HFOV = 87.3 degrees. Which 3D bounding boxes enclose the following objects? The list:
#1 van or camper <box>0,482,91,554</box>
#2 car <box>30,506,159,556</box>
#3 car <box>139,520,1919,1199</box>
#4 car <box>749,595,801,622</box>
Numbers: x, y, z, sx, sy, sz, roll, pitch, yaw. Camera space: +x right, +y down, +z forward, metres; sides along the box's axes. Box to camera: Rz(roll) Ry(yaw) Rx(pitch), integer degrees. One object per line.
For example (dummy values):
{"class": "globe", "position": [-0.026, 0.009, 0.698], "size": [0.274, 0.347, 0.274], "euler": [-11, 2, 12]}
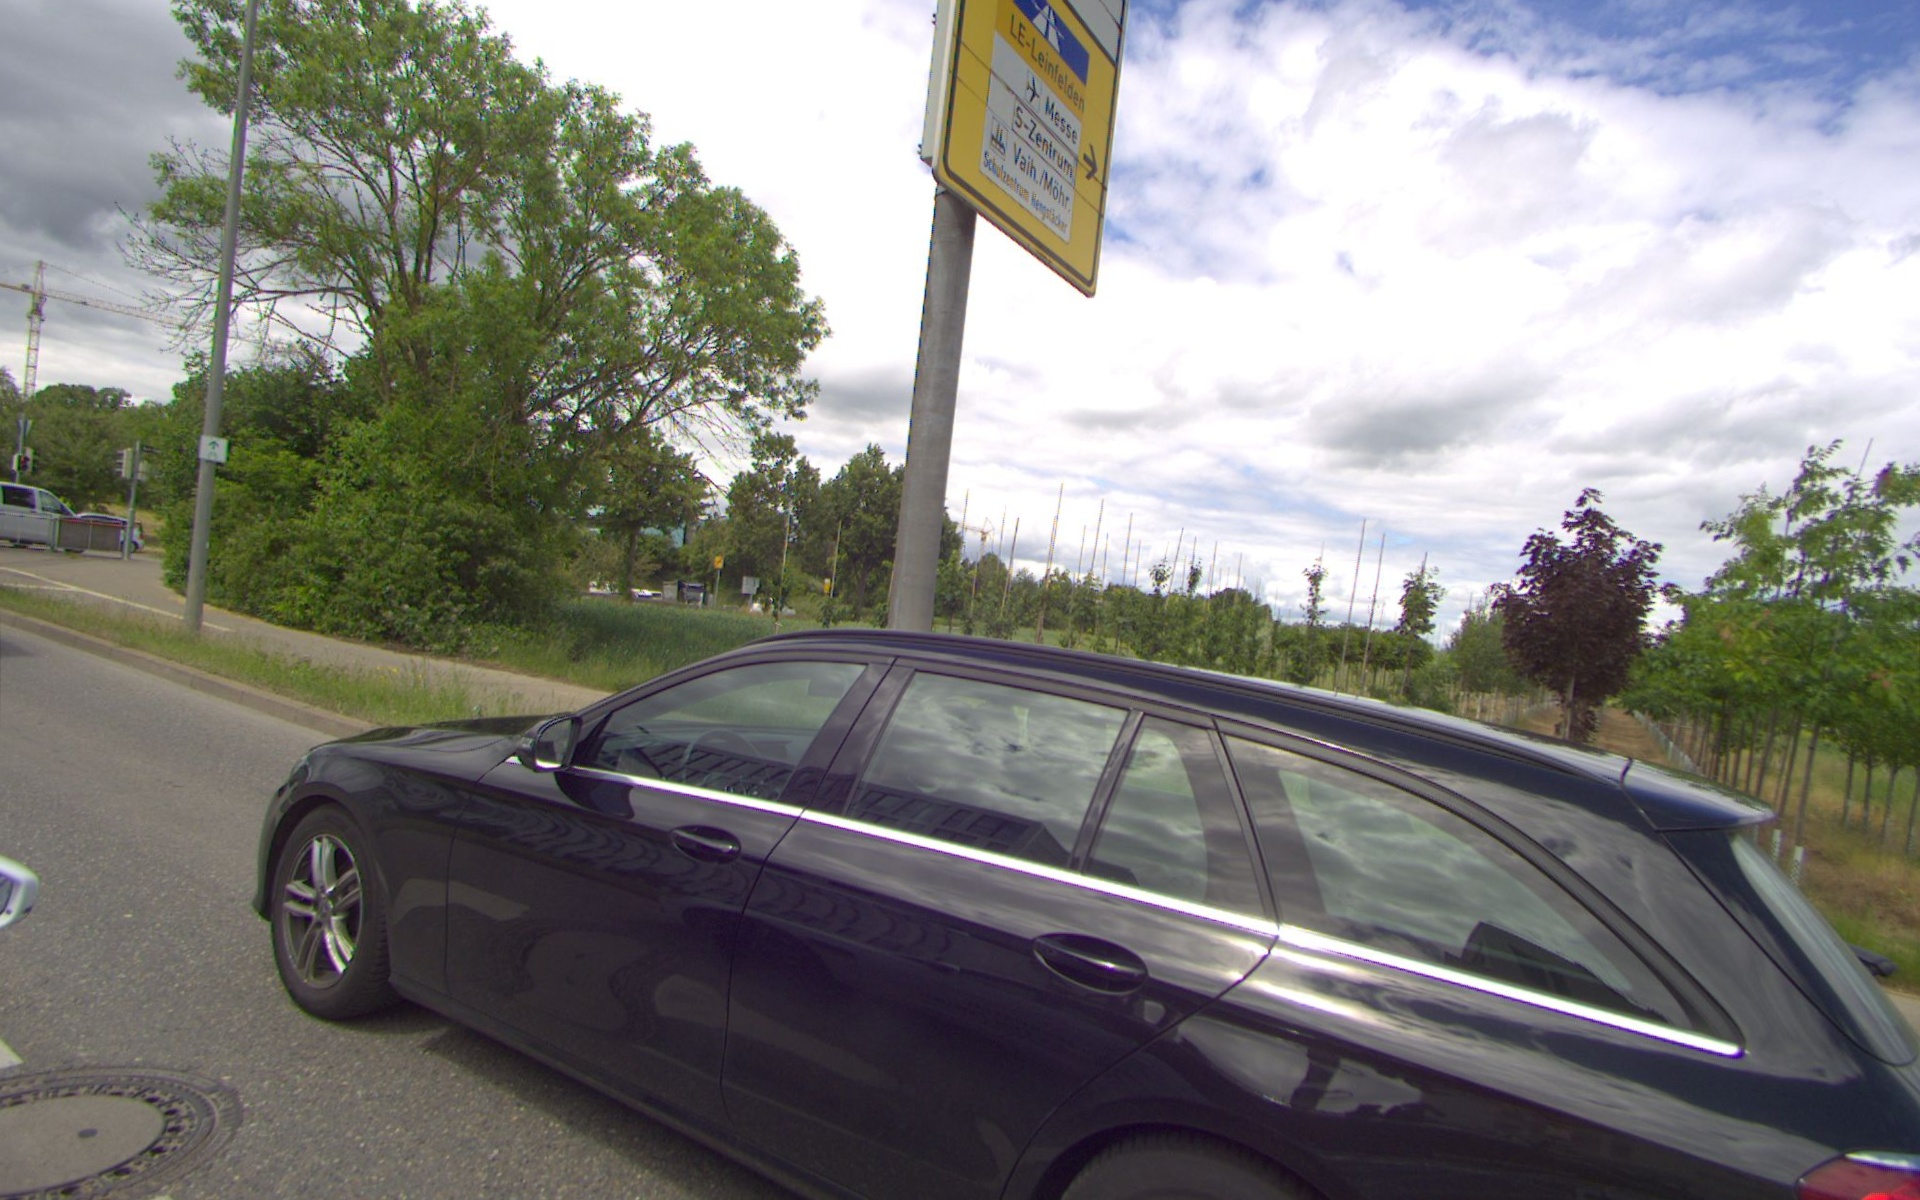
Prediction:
{"class": "van or camper", "position": [-28.370, -2.528, 29.172], "size": [1.963, 1.882, 4.942], "euler": [7, -1, -2]}
{"class": "car", "position": [-38.234, -3.029, 44.505], "size": [1.971, 1.548, 3.985], "euler": [7, -1, 39]}
{"class": "car", "position": [-0.111, 0.776, 3.032], "size": [5.111, 1.459, 1.875], "euler": [7, 0, 30]}
{"class": "car", "position": [-11.322, 0.535, 61.799], "size": [1.657, 1.361, 3.392], "euler": [7, -1, 18]}
